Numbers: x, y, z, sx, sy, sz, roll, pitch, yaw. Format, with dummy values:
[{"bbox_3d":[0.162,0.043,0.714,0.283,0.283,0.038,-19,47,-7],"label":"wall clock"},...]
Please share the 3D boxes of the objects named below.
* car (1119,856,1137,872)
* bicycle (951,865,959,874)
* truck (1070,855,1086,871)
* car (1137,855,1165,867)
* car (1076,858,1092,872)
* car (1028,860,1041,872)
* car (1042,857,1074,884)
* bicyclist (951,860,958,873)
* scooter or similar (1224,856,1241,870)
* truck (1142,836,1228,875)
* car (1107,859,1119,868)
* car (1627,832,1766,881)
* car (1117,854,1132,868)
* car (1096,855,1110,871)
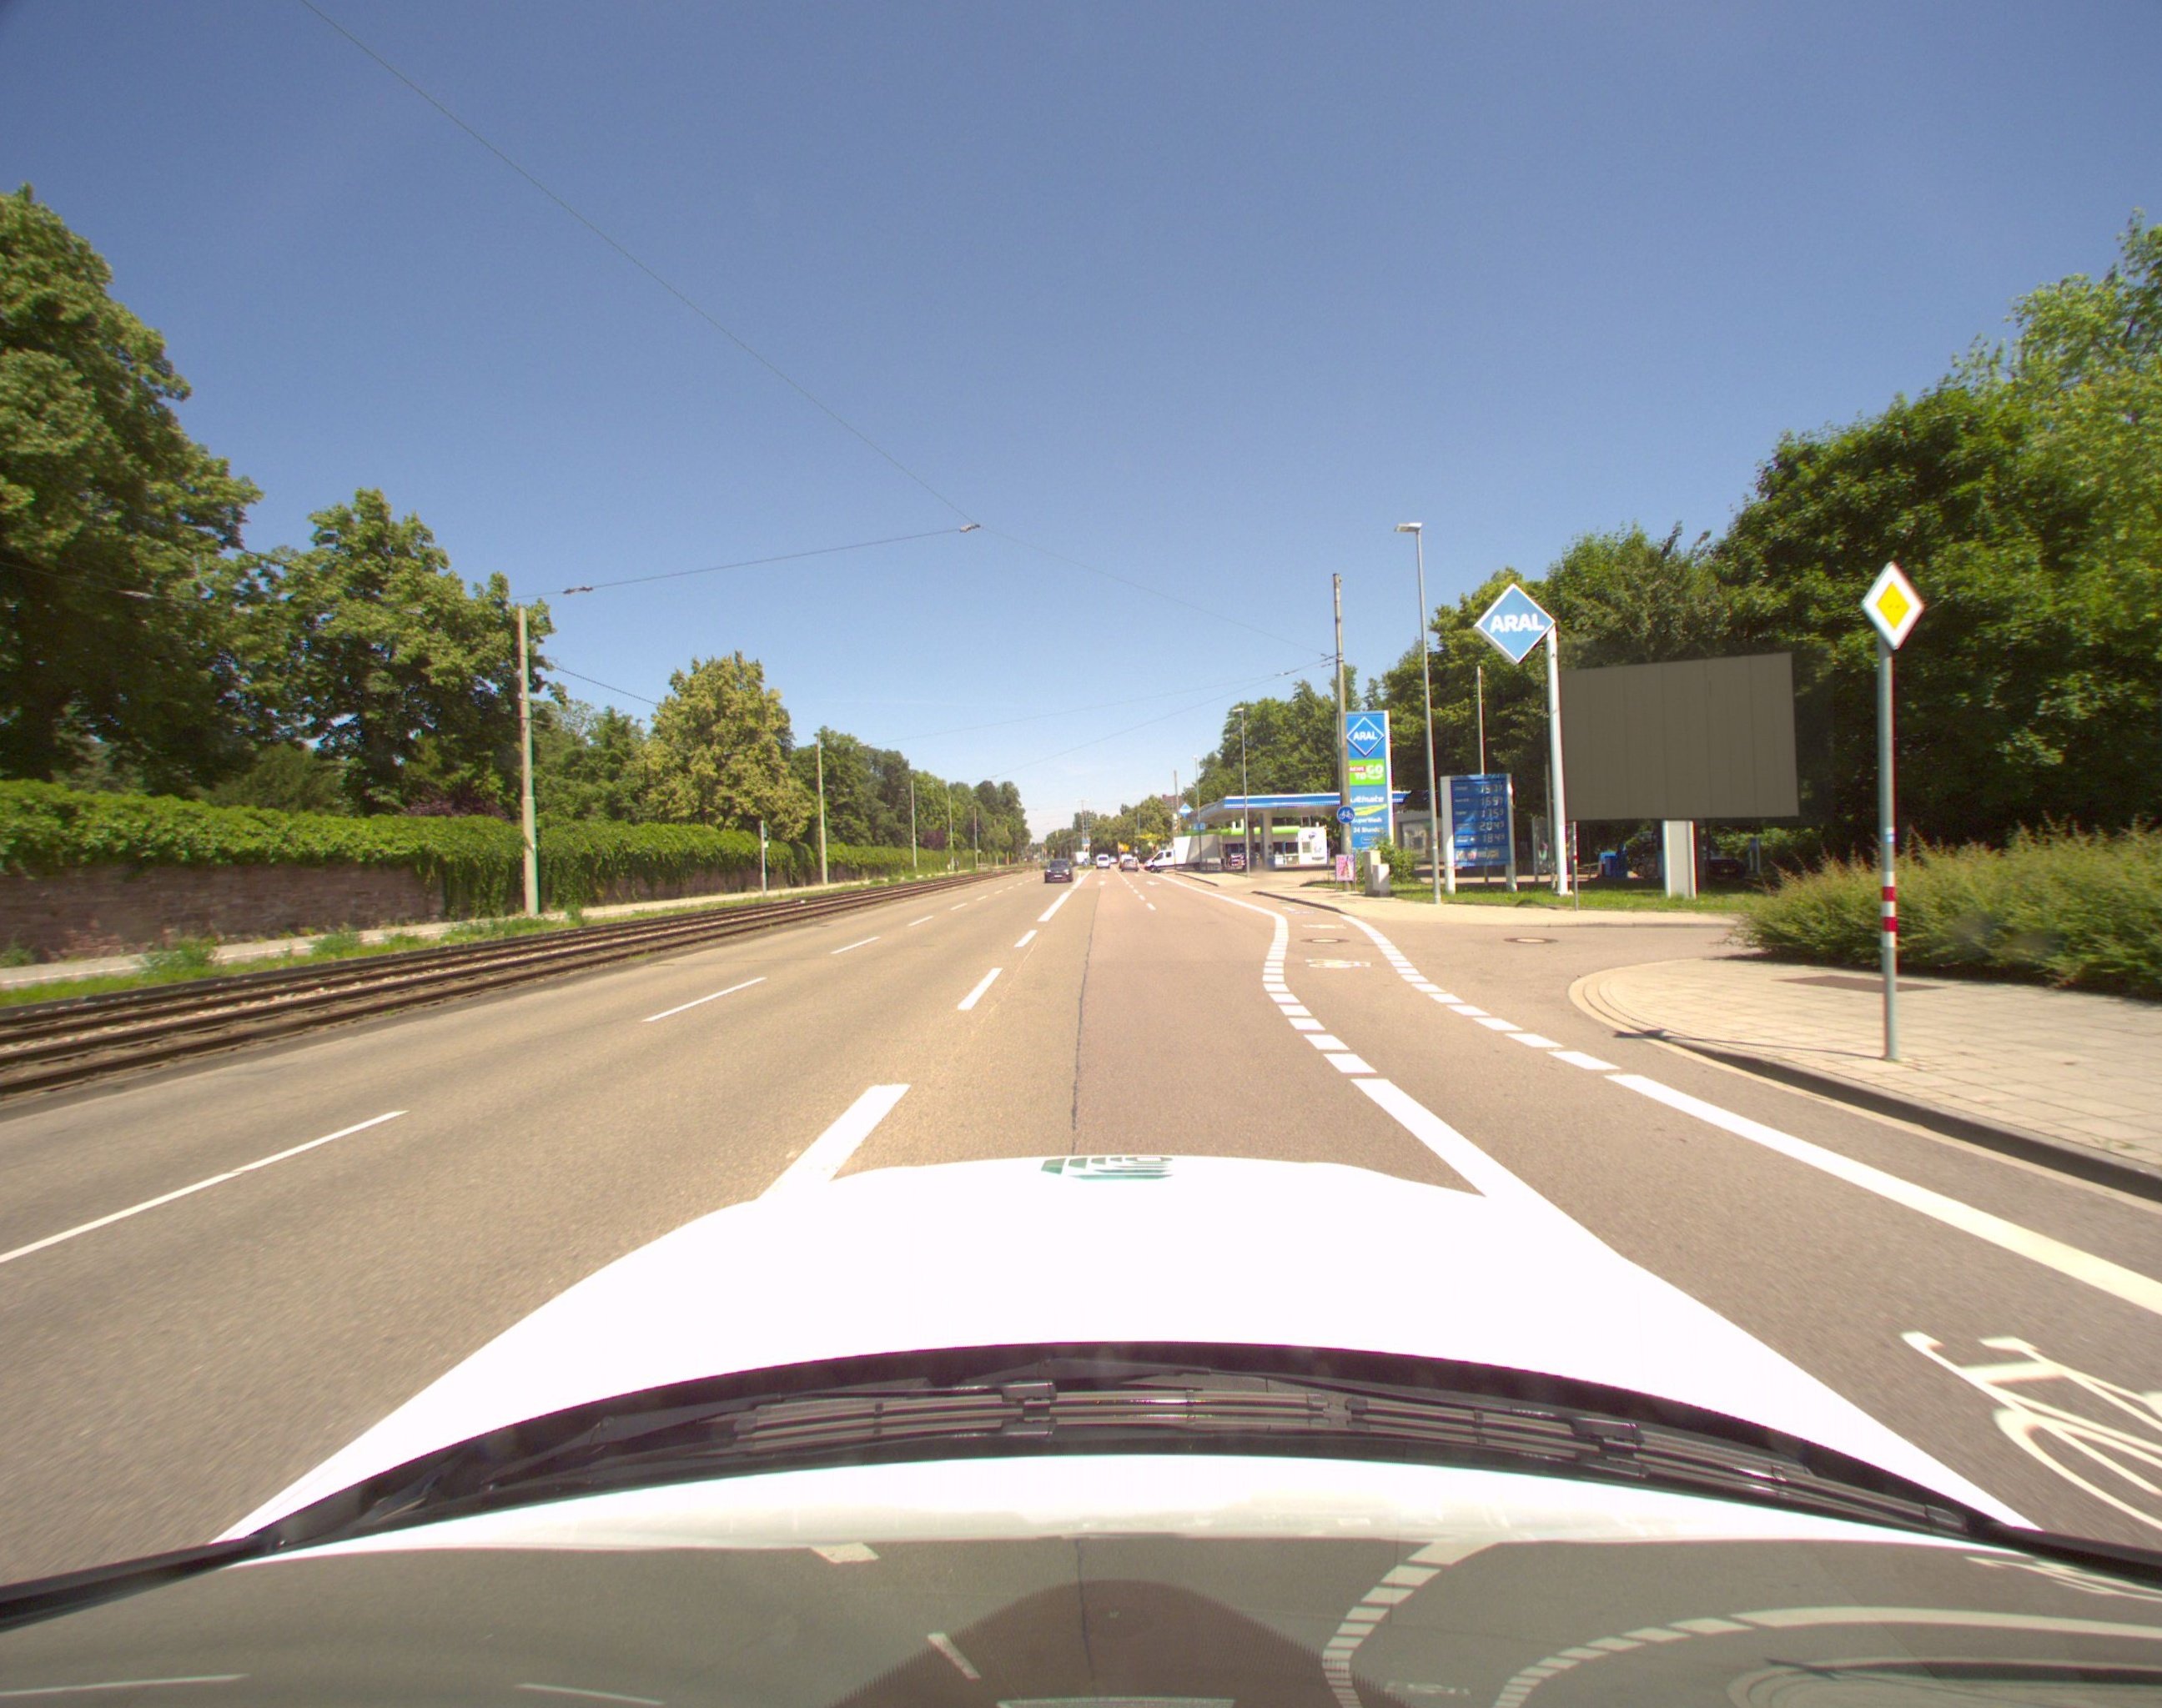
[{"bbox_3d":[5.140,1.096,89.228,1.749,1.630,4.324,-4,-1,1],"label":"car"},{"bbox_3d":[-16.054,1.966,103.695,0.679,1.054,2.008,-6,-2,0],"label":"bicycle"},{"bbox_3d":[-0.606,1.616,149.468,2.527,2.679,11.805,-2,0,-2],"label":"truck"},{"bbox_3d":[11.563,1.098,134.668,4.267,1.659,1.773,-4,-1,35],"label":"car"},{"bbox_3d":[0.369,1.400,103.631,1.749,1.630,4.326,-4,-1,2],"label":"car"},{"bbox_3d":[-6.765,1.796,118.671,1.752,1.630,4.317,-4,-1,-4],"label":"car"},{"bbox_3d":[-1.471,1.059,53.330,1.749,1.630,4.324,-4,-1,1],"label":"car"},{"bbox_3d":[-16.096,1.547,103.649,0.679,1.574,0.795,-6,-2,-1],"label":"bicyclist"},{"bbox_3d":[15.489,0.916,83.289,1.548,1.328,0.536,-2,-1,-1],"label":"scooter or similar"},{"bbox_3d":[10.258,0.189,80.435,7.899,3.602,2.676,-2,-1,21],"label":"truck"},{"bbox_3d":[6.621,1.956,168.257,1.754,1.630,4.313,-4,-1,-7],"label":"car"},{"bbox_3d":[23.336,0.105,31.110,1.752,1.630,4.317,-4,-1,-4],"label":"car"},{"bbox_3d":[5.650,0.898,106.980,1.749,1.630,4.324,-4,-1,1],"label":"car"},{"bbox_3d":[2.824,1.128,105.818,1.749,1.875,4.324,-4,-1,1],"label":"car"}]
